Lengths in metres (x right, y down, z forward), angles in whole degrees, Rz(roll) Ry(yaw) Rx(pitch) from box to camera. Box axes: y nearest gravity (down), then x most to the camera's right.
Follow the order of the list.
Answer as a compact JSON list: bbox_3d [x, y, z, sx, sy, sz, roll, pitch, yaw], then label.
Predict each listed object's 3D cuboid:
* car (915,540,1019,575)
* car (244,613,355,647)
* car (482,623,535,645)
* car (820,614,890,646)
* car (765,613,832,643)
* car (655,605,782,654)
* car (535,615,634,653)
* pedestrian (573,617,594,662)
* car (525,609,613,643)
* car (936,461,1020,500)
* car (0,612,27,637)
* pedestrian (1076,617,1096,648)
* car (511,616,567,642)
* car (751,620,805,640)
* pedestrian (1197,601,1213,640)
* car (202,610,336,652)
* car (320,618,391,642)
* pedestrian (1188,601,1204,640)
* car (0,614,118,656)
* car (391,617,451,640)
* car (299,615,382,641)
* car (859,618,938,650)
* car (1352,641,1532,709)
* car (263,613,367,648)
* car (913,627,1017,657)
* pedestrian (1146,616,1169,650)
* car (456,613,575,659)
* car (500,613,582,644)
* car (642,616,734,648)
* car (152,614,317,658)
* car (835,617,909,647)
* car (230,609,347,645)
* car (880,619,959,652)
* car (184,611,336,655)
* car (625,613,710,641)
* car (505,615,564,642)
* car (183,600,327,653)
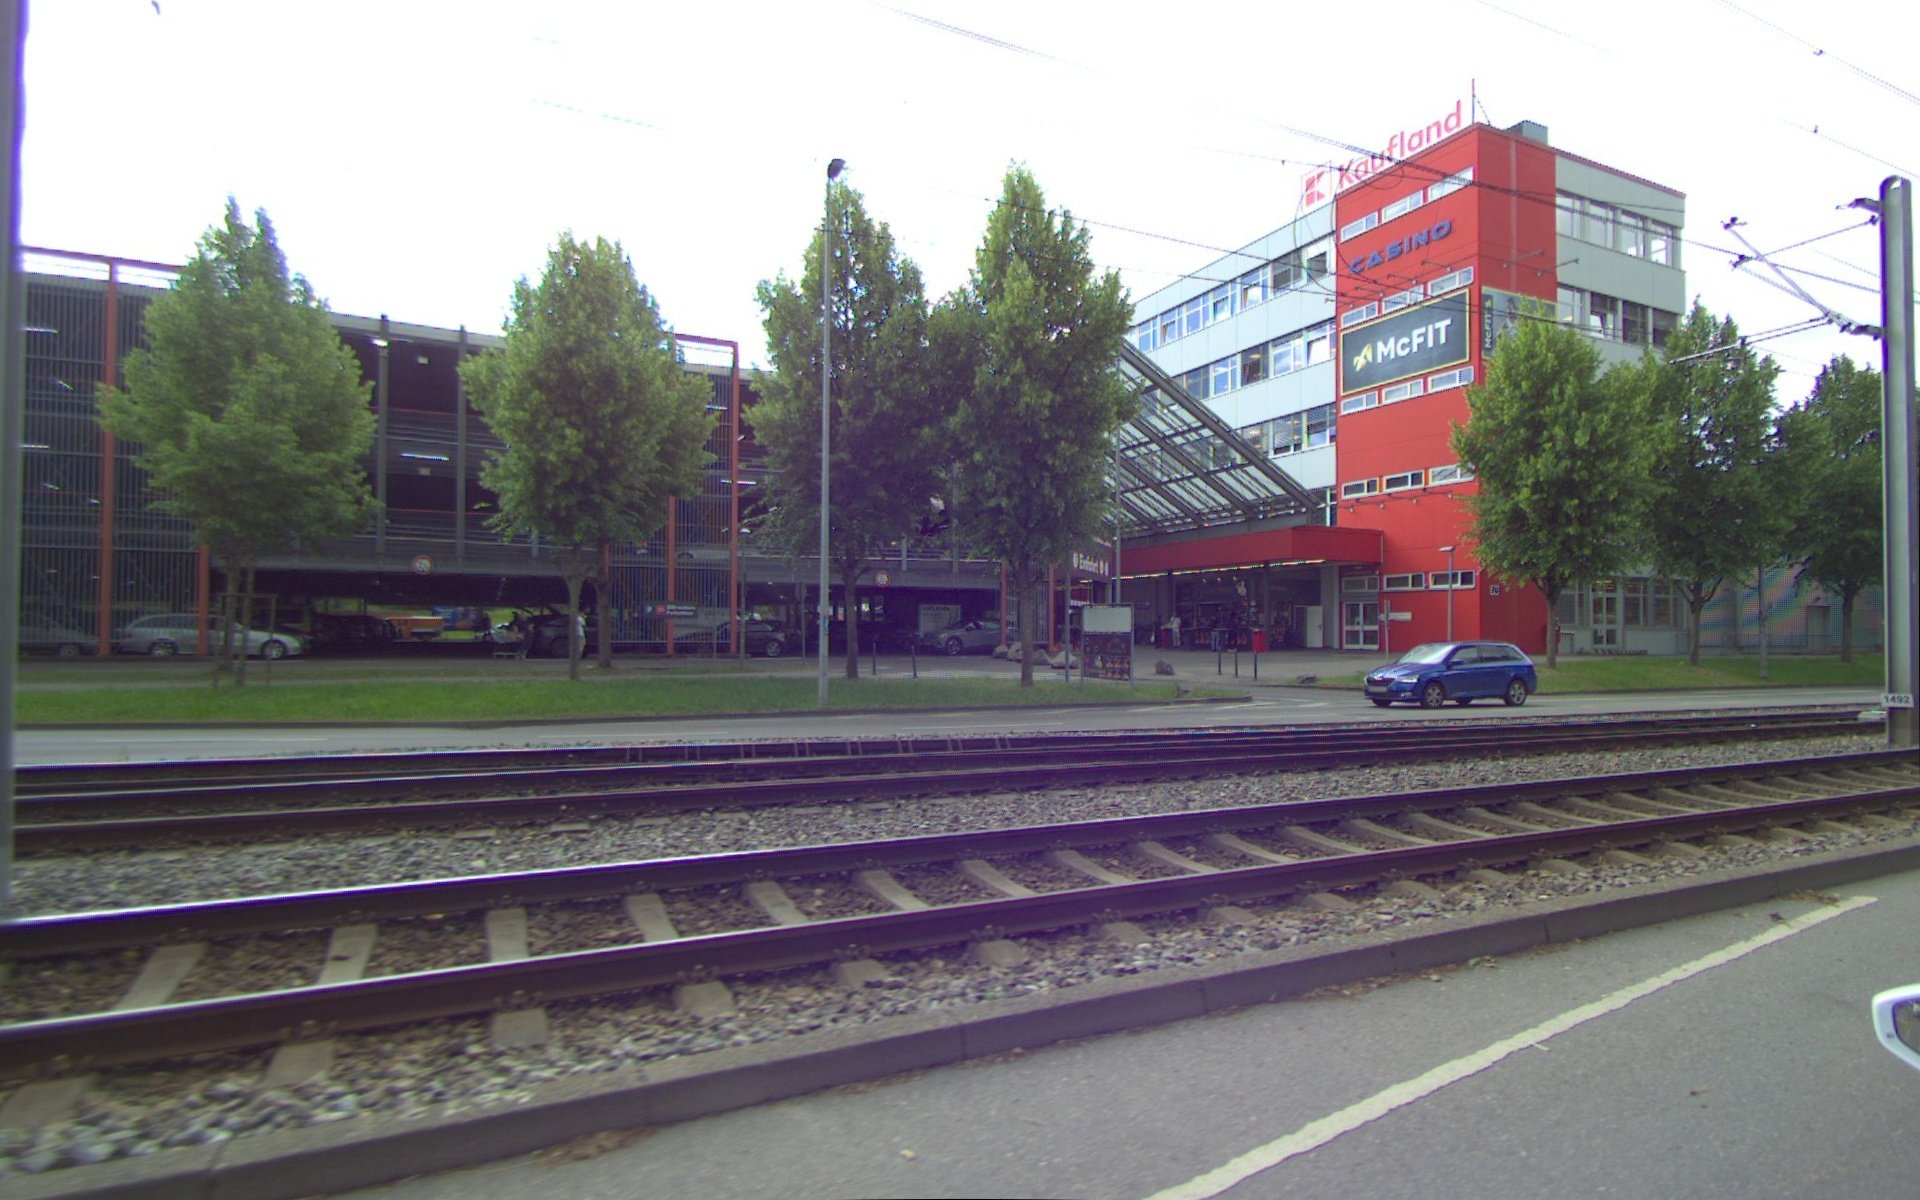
[{"bbox_3d":[0.325,-1.839,43.911,4.392,1.242,1.431,2,-2,-27],"label":"car"},{"bbox_3d":[-29.744,1.394,45.363,3.947,1.461,1.809,2,-4,-26],"label":"car"},{"bbox_3d":[-37.329,2.852,83.206,3.944,1.750,1.989,1,-3,-24],"label":"car"},{"bbox_3d":[-5.974,1.710,57.219,3.578,1.735,1.656,1,-2,-27],"label":"car"},{"bbox_3d":[-9.457,1.672,58.968,3.578,1.677,1.642,2,-4,-27],"label":"car"},{"bbox_3d":[-9.914,1.240,41.336,4.805,1.913,1.668,1,-2,-27],"label":"car"},{"bbox_3d":[-15.382,1.383,41.164,3.627,1.495,1.668,1,-2,-27],"label":"car"},{"bbox_3d":[-12.911,1.362,34.448,0.606,1.526,0.420,1,-1,-26],"label":"pedestrian"},{"bbox_3d":[-17.838,1.192,45.806,3.627,1.437,1.668,0,-3,-27],"label":"car"},{"bbox_3d":[0.800,-5.247,44.304,3.461,1.242,1.449,2,-2,-27],"label":"car"},{"bbox_3d":[-50.299,1.255,51.564,3.174,1.240,1.434,2,-4,-26],"label":"car"},{"bbox_3d":[6.981,1.807,55.751,0.855,1.717,0.735,1,-3,-27],"label":"pedestrian"},{"bbox_3d":[-29.129,2.024,69.469,3.482,1.657,1.836,1,-3,-24],"label":"car"},{"bbox_3d":[-13.492,2.231,74.510,3.627,1.495,1.668,1,-1,-27],"label":"car"},{"bbox_3d":[13.056,1.098,53.467,0.546,2.040,0.599,1,-3,-25],"label":"pedestrian"},{"bbox_3d":[-26.617,1.206,38.872,4.001,1.536,1.834,1,-2,-27],"label":"car"},{"bbox_3d":[-38.166,1.906,63.514,3.627,1.457,1.668,1,-1,-27],"label":"car"},{"bbox_3d":[12.520,1.070,53.218,0.546,2.040,0.599,1,-3,-25],"label":"pedestrian"},{"bbox_3d":[-27.540,1.039,29.954,3.427,1.240,1.434,1,-2,-25],"label":"car"},{"bbox_3d":[-42.726,2.298,79.748,3.944,1.750,1.989,1,-3,-24],"label":"car"},{"bbox_3d":[-36.347,1.678,59.065,3.947,1.461,1.809,2,-4,-26],"label":"car"},{"bbox_3d":[-3.216,1.808,52.625,3.764,1.572,1.667,2,-4,-29],"label":"car"},{"bbox_3d":[10.946,1.669,22.833,3.664,1.411,1.657,1,-2,-22],"label":"car"},{"bbox_3d":[-30.753,1.450,48.004,3.947,1.596,1.808,1,-2,-26],"label":"car"},{"bbox_3d":[0.241,1.826,43.822,4.392,1.242,1.449,2,-2,-27],"label":"car"},{"bbox_3d":[10.071,1.708,51.175,0.855,1.717,0.735,1,-3,-27],"label":"pedestrian"},{"bbox_3d":[-15.278,1.243,34.557,3.627,1.495,1.668,1,-1,-27],"label":"car"},{"bbox_3d":[-20.798,1.437,49.886,3.627,1.495,1.668,1,-2,-27],"label":"car"},{"bbox_3d":[-13.076,1.535,48.288,3.951,1.407,1.781,3,-2,-28],"label":"car"},{"bbox_3d":[-23.029,1.153,32.088,4.020,1.322,1.630,1,-1,-27],"label":"car"},{"bbox_3d":[-4.779,1.730,54.542,3.630,1.572,1.666,2,-2,-29],"label":"car"},{"bbox_3d":[-28.835,1.201,43.287,3.947,1.461,1.809,2,-4,-26],"label":"car"},{"bbox_3d":[-2.010,1.802,50.574,3.596,1.572,1.761,2,-4,-29],"label":"car"},{"bbox_3d":[-23.959,1.170,34.565,4.001,1.451,1.835,2,-4,-27],"label":"car"},{"bbox_3d":[-15.263,1.427,52.434,3.950,1.408,1.781,2,-2,-28],"label":"car"},{"bbox_3d":[-28.051,1.898,66.229,3.482,1.633,1.836,1,-3,-24],"label":"car"},{"bbox_3d":[-25.606,0.988,36.650,4.001,1.838,1.834,1,-2,-27],"label":"car"}]
